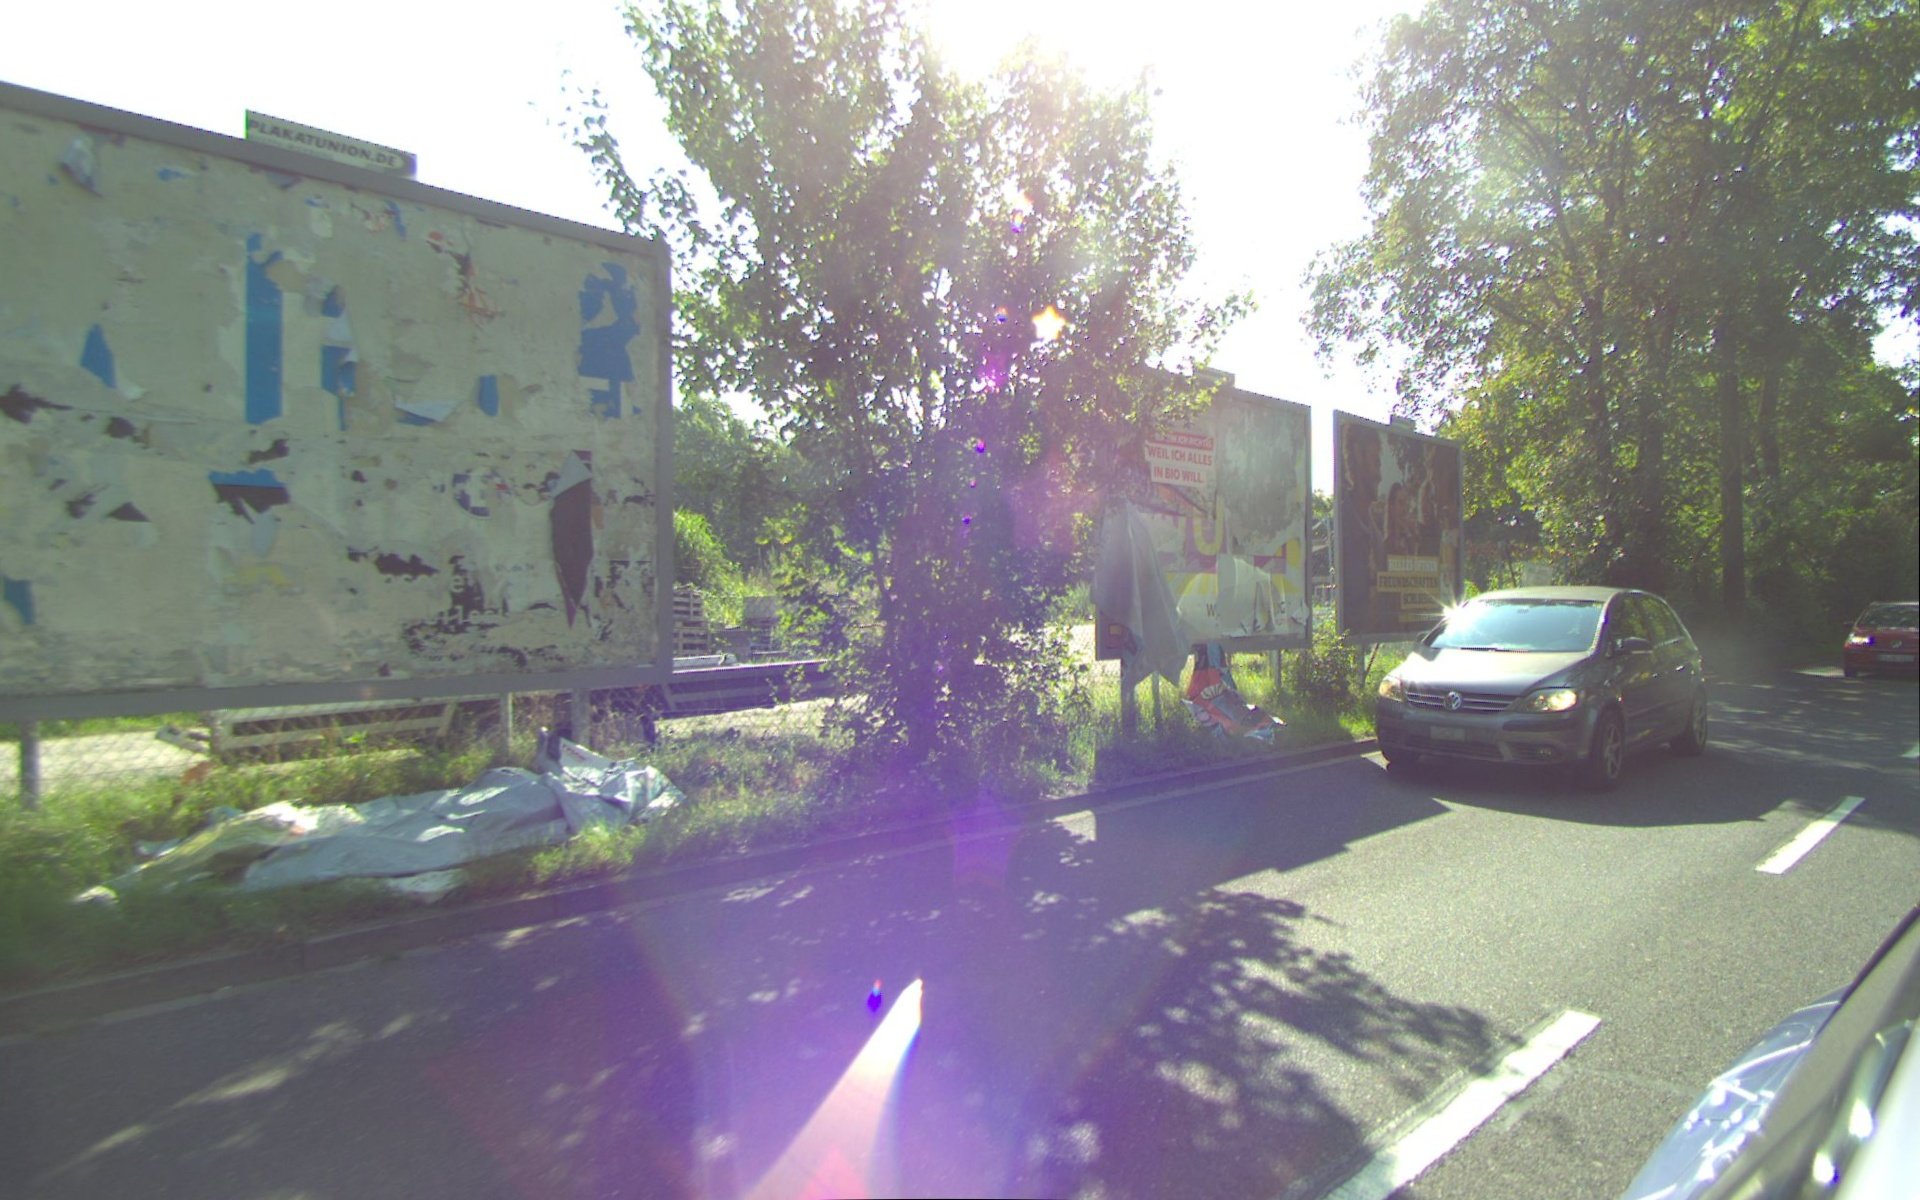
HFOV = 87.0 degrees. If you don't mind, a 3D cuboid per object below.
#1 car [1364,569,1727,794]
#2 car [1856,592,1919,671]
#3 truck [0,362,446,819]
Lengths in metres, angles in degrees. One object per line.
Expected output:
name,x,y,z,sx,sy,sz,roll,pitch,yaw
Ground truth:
car,5.322,0.562,9.002,3.831,1.576,1.648,0,0,-41
car,18.716,0.569,19.603,3.410,1.416,1.578,-1,1,-40
truck,-6.407,-0.029,4.855,6.790,2.261,1.918,0,-1,-40
